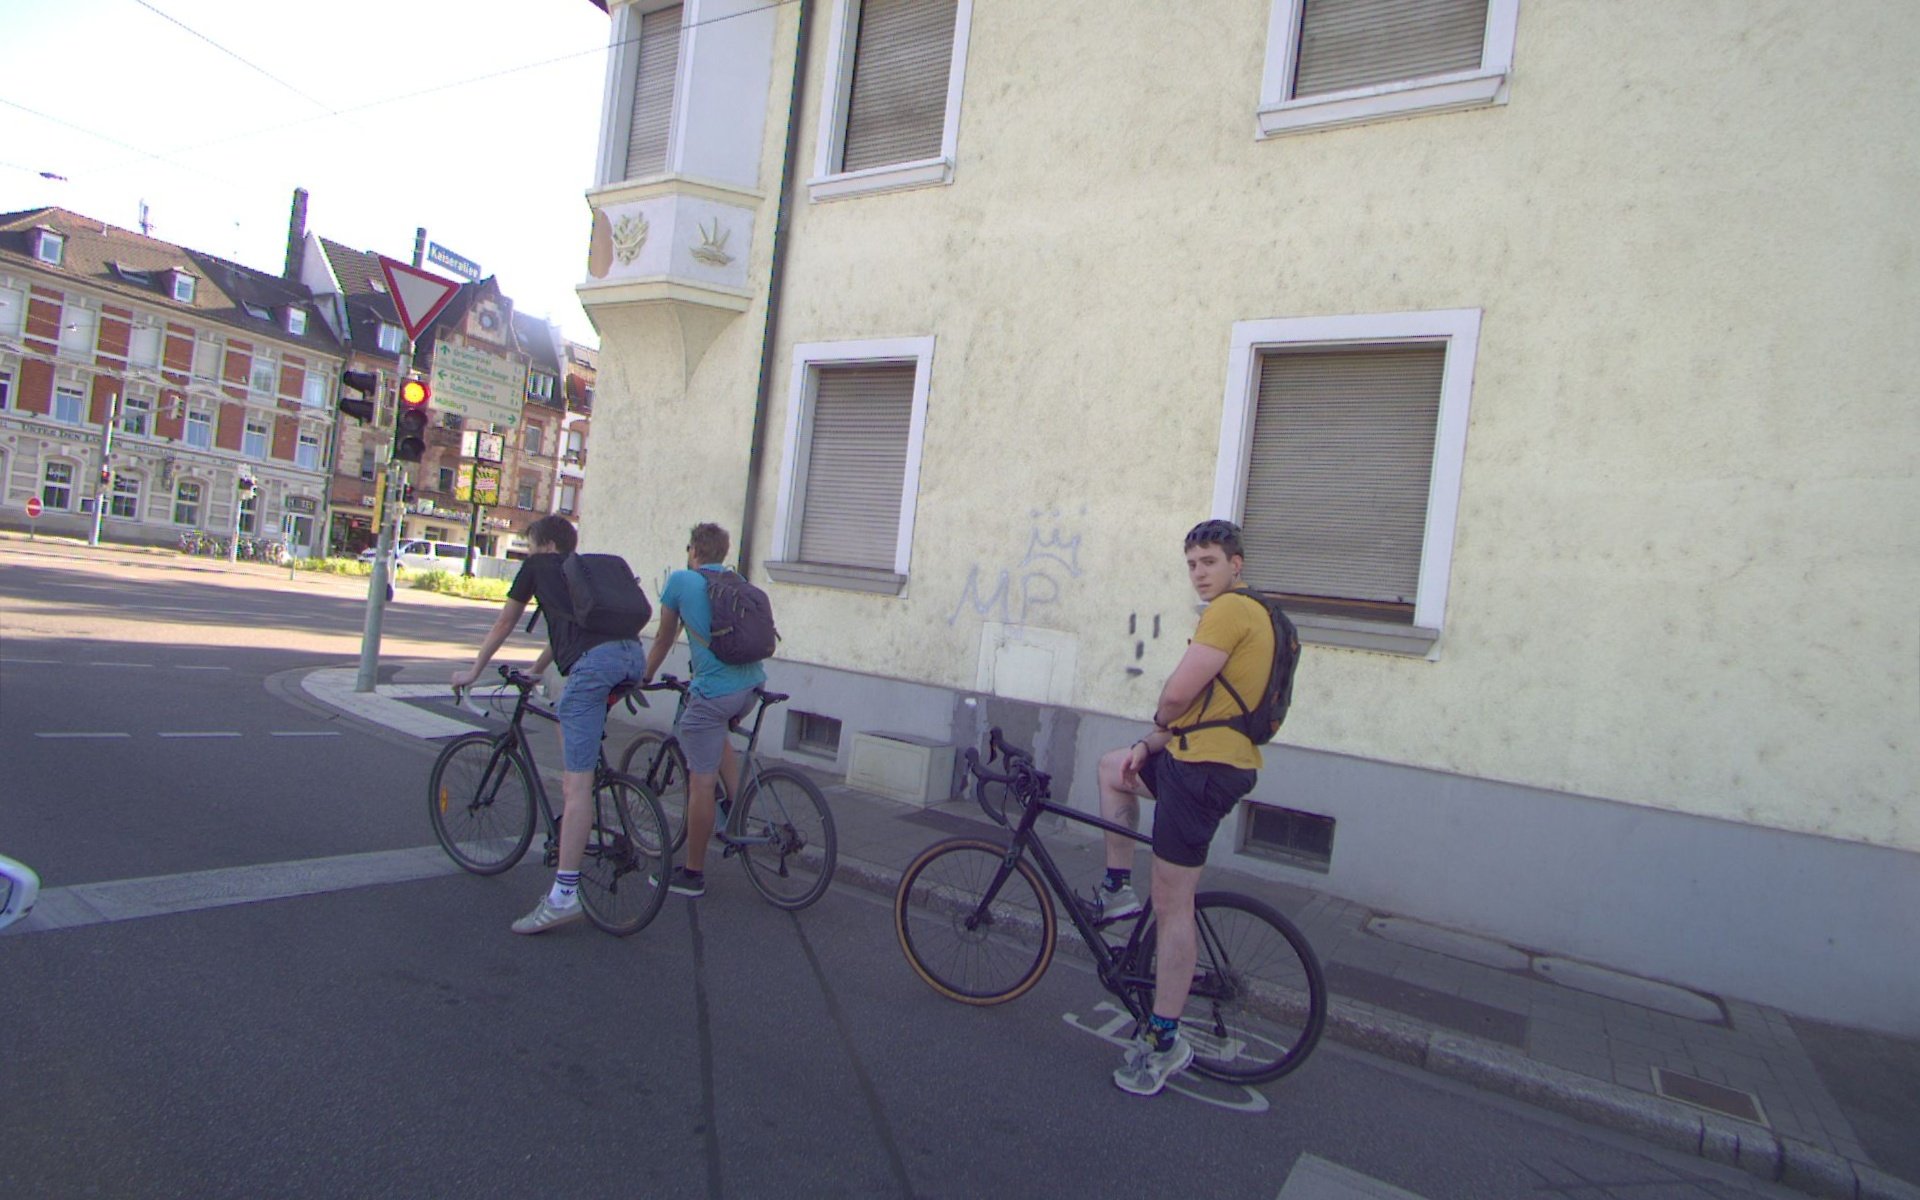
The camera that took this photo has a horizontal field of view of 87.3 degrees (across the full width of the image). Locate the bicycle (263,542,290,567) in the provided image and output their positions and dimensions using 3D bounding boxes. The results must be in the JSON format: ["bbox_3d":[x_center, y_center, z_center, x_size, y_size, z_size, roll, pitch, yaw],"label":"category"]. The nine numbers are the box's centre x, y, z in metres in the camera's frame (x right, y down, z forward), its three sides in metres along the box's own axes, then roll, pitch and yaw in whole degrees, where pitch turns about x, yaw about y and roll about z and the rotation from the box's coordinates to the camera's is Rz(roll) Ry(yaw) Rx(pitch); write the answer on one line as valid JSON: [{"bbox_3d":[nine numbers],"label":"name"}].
[{"bbox_3d":[-33.075,-2.209,48.691,0.789,1.027,2.186,8,-2,-39],"label":"bicycle"}]

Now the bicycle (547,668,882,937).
[{"bbox_3d":[-1.315,0.970,5.222,1.753,0.995,0.504,6,-1,32],"label":"bicycle"}]

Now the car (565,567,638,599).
[{"bbox_3d":[-23.163,-1.096,65.121,1.842,1.454,3.985,6,-2,35],"label":"car"}]

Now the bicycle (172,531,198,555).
[{"bbox_3d":[-35.360,-2.611,45.876,0.762,0.974,2.186,8,-2,-39],"label":"bicycle"}]

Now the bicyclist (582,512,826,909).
[{"bbox_3d":[-1.345,0.528,5.276,0.960,1.868,0.504,6,-1,32],"label":"bicyclist"}]

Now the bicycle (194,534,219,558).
[{"bbox_3d":[-34.758,-2.510,46.401,0.762,0.979,2.186,8,-2,-39],"label":"bicycle"}]

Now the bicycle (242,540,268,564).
[{"bbox_3d":[-33.615,-2.309,47.973,0.762,1.019,2.196,8,-2,-39],"label":"bicycle"}]

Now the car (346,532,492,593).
[{"bbox_3d":[-23.473,-1.569,43.865,1.966,1.876,5.209,7,-1,30],"label":"car"}]

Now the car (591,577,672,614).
[{"bbox_3d":[-17.362,-0.212,53.347,1.569,1.443,3.876,7,-1,32],"label":"car"}]

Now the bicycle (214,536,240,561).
[{"bbox_3d":[-34.262,-2.419,47.023,0.762,0.995,2.186,8,-2,-39],"label":"bicycle"}]

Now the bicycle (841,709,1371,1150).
[{"bbox_3d":[0.551,1.118,3.844,1.709,1.119,0.783,7,-1,18],"label":"bicycle"}]

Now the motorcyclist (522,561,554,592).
[{"bbox_3d":[-20.369,-1.151,48.573,0.777,1.315,1.015,6,-2,36],"label":"motorcyclist"}]

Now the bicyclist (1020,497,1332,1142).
[{"bbox_3d":[0.811,0.709,3.678,0.763,1.990,0.783,7,0,18],"label":"bicyclist"}]

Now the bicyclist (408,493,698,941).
[{"bbox_3d":[-1.837,0.473,4.549,0.920,1.787,0.590,6,-1,32],"label":"bicyclist"}]

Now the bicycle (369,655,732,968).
[{"bbox_3d":[-1.900,0.865,4.555,1.753,1.003,0.482,6,-1,32],"label":"bicycle"}]

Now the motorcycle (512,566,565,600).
[{"bbox_3d":[-20.362,-0.819,48.631,0.784,1.349,2.137,6,-2,36],"label":"motorcycle"}]
